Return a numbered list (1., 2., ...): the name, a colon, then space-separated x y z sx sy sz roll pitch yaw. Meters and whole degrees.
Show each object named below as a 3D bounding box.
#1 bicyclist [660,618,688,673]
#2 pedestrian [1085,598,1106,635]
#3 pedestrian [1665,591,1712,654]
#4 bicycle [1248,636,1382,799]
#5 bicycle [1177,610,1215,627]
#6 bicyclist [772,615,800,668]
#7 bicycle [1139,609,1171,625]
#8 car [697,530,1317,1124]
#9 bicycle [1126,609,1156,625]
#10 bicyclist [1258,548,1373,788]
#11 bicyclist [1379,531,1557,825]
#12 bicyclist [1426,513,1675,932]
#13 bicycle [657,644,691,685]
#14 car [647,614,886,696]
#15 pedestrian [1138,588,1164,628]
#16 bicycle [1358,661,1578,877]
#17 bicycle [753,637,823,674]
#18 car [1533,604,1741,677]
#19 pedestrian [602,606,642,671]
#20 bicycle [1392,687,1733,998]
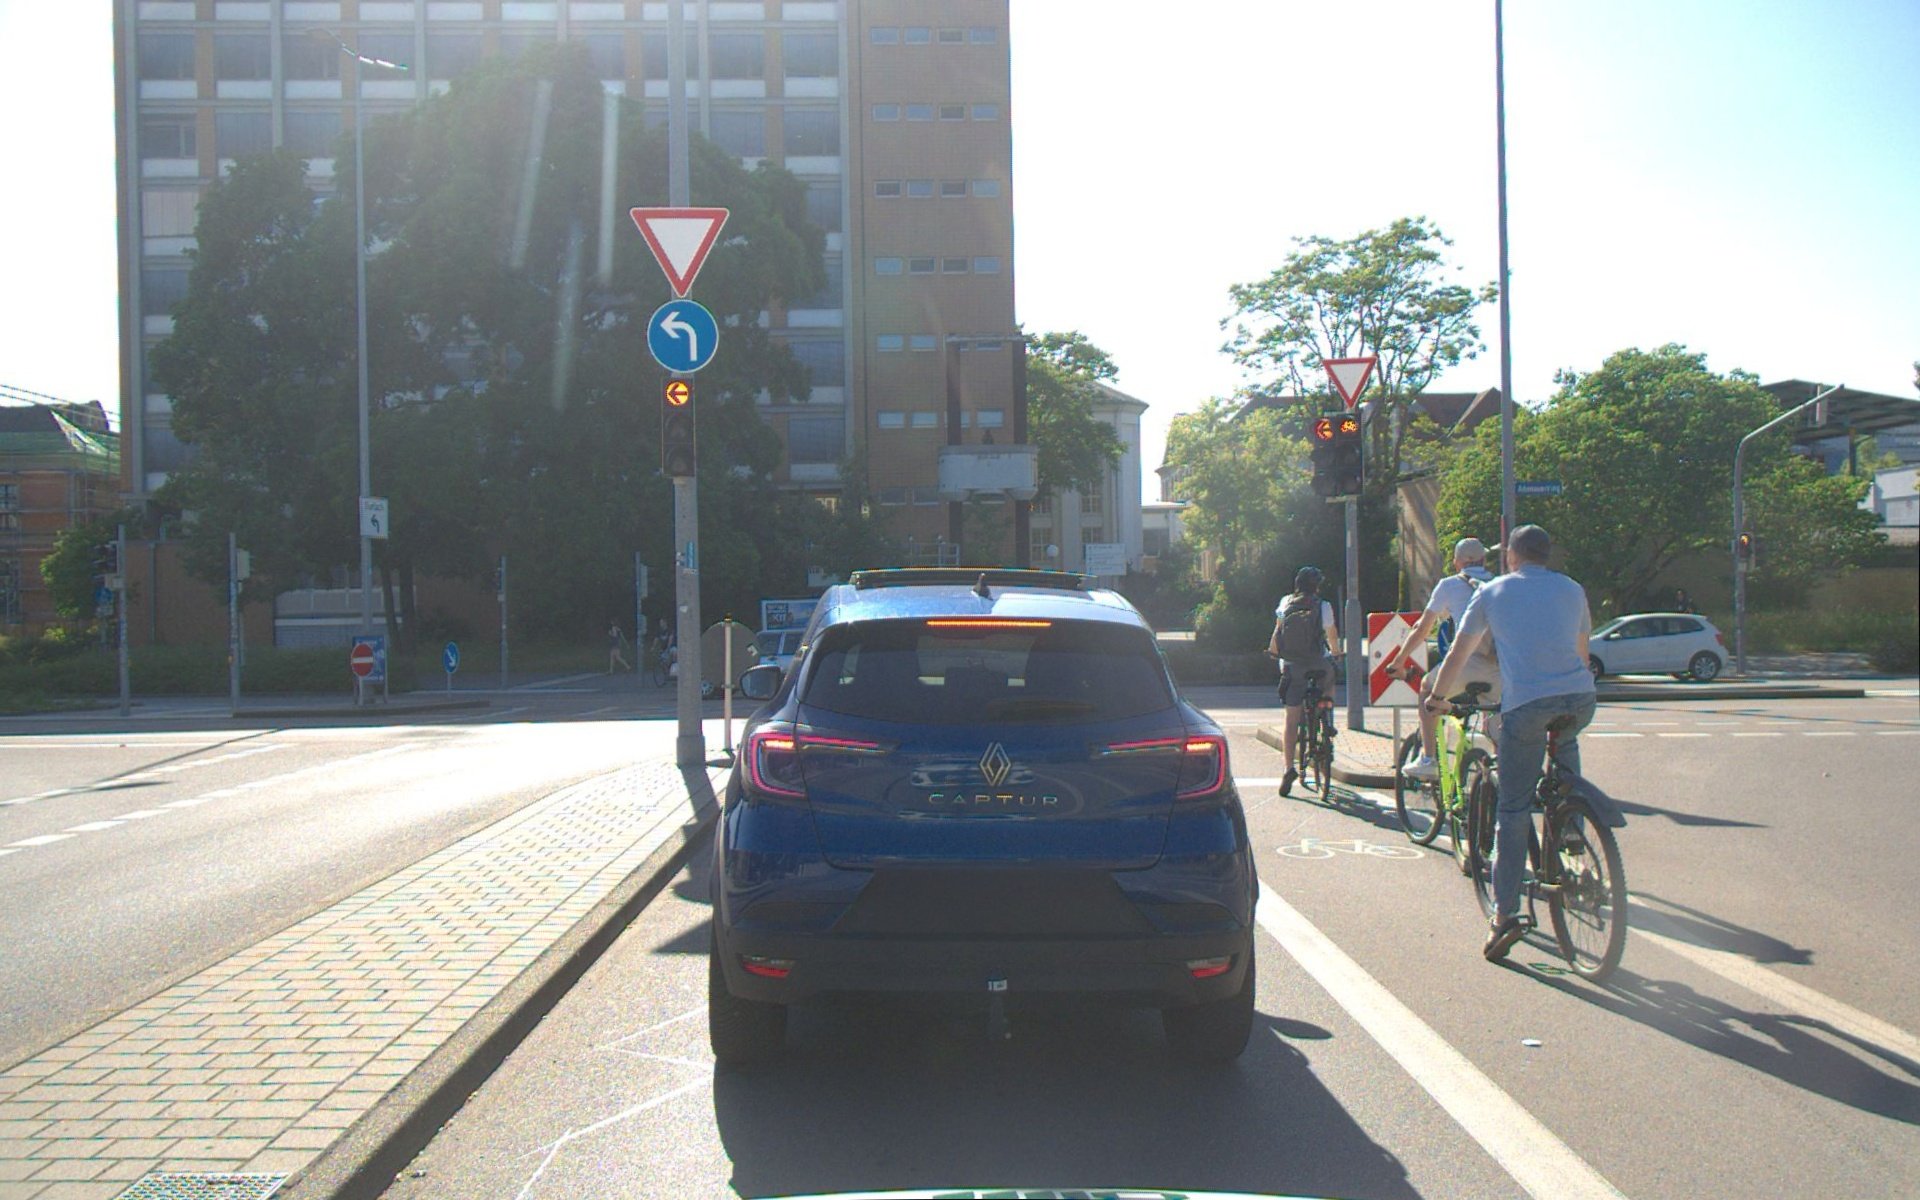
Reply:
1. bicyclist: -7.553 1.200 43.676 0.637 1.437 0.635 -1 -3 -17
2. pedestrian: 7.657 0.940 93.599 1.126 2.049 0.952 -1 0 6
3. pedestrian: 19.103 0.589 43.393 0.960 1.632 0.827 -1 0 13
4. bicycle: 2.779 0.884 13.109 0.602 1.158 1.825 0 0 -2
5. bicycle: 11.859 0.928 83.211 1.739 0.837 0.763 -1 0 -11
6. bicyclist: -4.798 1.149 45.606 0.623 1.437 0.649 -1 0 4
7. bicycle: 11.202 0.980 95.002 1.735 0.914 0.765 -1 0 -1
8. car: 0.084 0.641 6.646 1.758 1.684 3.852 1 0 -2
9. bicycle: 10.856 1.011 99.360 1.735 0.908 0.765 -1 0 -1
10. bicyclist: 2.786 0.521 13.042 0.663 1.816 0.939 1 -1 -2
11. bicyclist: 2.936 0.430 9.643 0.660 1.610 1.081 1 0 -2
12. bicyclist: 2.547 0.502 7.224 0.725 1.703 0.865 -1 0 -3
13. bicycle: -7.561 1.710 43.710 0.687 1.025 1.860 -1 -3 -16
14. car: -4.100 1.165 35.471 4.760 1.621 1.939 -1 0 6
15. pedestrian: 9.760 0.410 84.482 1.132 2.049 1.164 -1 0 -1
16. bicycle: 2.921 0.932 9.709 0.657 1.069 1.843 1 0 -2
17. bicycle: -4.750 1.533 45.621 1.826 0.975 0.624 -1 0 4
18. car: 14.748 0.903 36.224 3.870 1.517 1.812 -1 -2 10
19. pedestrian: -10.009 1.133 48.996 0.912 1.888 0.808 -1 0 8
20. bicycle: 2.552 0.973 7.272 0.732 1.069 1.902 -1 0 -2
